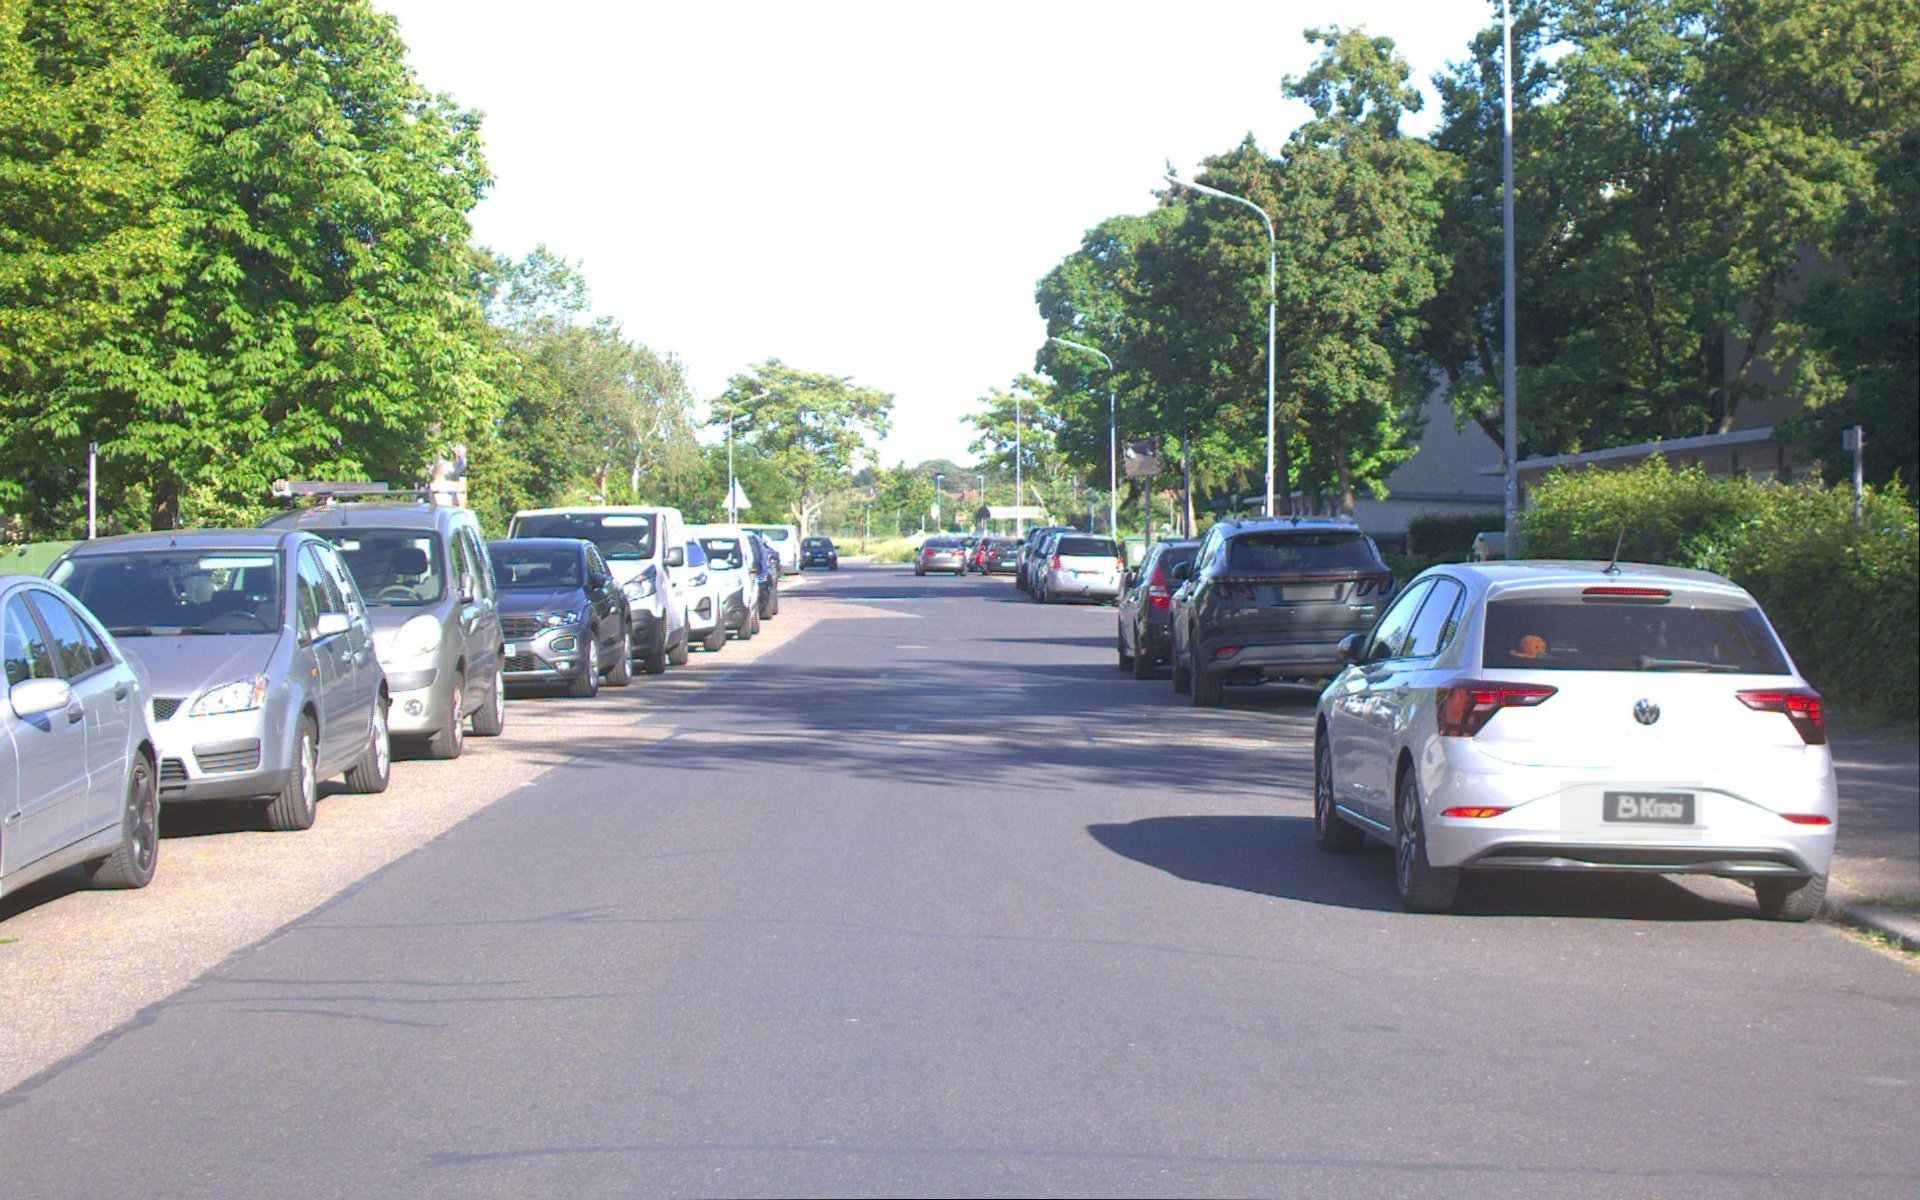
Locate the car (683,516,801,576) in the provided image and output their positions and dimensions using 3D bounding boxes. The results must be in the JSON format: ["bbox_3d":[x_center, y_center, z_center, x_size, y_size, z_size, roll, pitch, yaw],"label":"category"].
[{"bbox_3d":[-7.605,-1.883,119.649,4.053,1.985,1.802,1,1,-5],"label":"car"}]

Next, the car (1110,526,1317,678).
[{"bbox_3d":[2.688,-0.025,37.366,1.908,1.525,4.328,1,1,0],"label":"car"}]

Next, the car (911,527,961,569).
[{"bbox_3d":[-0.921,-1.999,130.422,1.679,1.508,4.105,2,1,-3],"label":"car"}]

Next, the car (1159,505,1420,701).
[{"bbox_3d":[2.921,-0.022,31.427,1.908,1.634,4.628,1,1,0],"label":"car"}]

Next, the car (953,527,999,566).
[{"bbox_3d":[0.675,-2.341,149.860,1.795,1.638,3.952,1,1,-2],"label":"car"}]

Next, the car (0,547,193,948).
[{"bbox_3d":[-4.426,0.562,13.786,1.686,1.460,4.526,-2,1,-1],"label":"car"}]

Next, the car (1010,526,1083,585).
[{"bbox_3d":[2.434,-1.284,97.856,1.795,1.638,3.952,1,1,-2],"label":"car"}]

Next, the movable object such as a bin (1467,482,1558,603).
[{"bbox_3d":[6.753,-0.707,42.091,0.917,1.449,1.233,0,1,0],"label":"movable object such as a bin"}]

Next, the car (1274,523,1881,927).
[{"bbox_3d":[2.571,0.439,15.301,1.753,1.508,4.105,2,1,-3],"label":"car"}]

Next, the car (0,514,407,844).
[{"bbox_3d":[-4.247,0.357,19.246,1.709,1.595,3.986,-2,1,-2],"label":"car"}]

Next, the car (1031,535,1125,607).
[{"bbox_3d":[2.640,-0.673,77.401,1.795,1.556,3.952,1,1,-2],"label":"car"}]

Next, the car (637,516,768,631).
[{"bbox_3d":[-4.041,-0.445,54.403,1.746,1.726,4.006,-1,1,0],"label":"car"}]

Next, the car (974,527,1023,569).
[{"bbox_3d":[1.559,-2.138,140.110,1.795,1.638,3.952,1,1,-2],"label":"car"}]

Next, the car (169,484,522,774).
[{"bbox_3d":[-4.350,0.145,24.974,1.854,1.886,4.418,-1,1,-2],"label":"car"}]

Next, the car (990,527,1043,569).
[{"bbox_3d":[2.169,-2.017,132.749,1.795,1.543,3.952,1,1,-2],"label":"car"}]

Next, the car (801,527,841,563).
[{"bbox_3d":[-6.344,-2.522,157.101,1.795,1.556,3.952,1,1,-2],"label":"car"}]

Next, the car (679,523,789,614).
[{"bbox_3d":[-4.198,-0.608,64.306,1.746,1.607,4.308,-1,1,0],"label":"car"}]

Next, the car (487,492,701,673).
[{"bbox_3d":[-4.232,-0.250,40.493,1.915,1.956,5.088,-1,1,0],"label":"car"}]

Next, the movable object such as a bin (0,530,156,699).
[{"bbox_3d":[-7.909,0.112,30.658,1.101,1.416,1.361,3,1,0],"label":"movable object such as a bin"}]

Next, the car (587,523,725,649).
[{"bbox_3d":[-4.262,-0.231,48.652,1.746,1.664,4.379,-1,1,-3],"label":"car"}]

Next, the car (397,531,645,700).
[{"bbox_3d":[-4.275,0.104,34.066,1.746,1.528,4.139,-1,1,2],"label":"car"}]

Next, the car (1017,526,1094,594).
[{"bbox_3d":[2.564,-1.108,93.543,1.795,1.780,3.952,1,1,-2],"label":"car"}]
